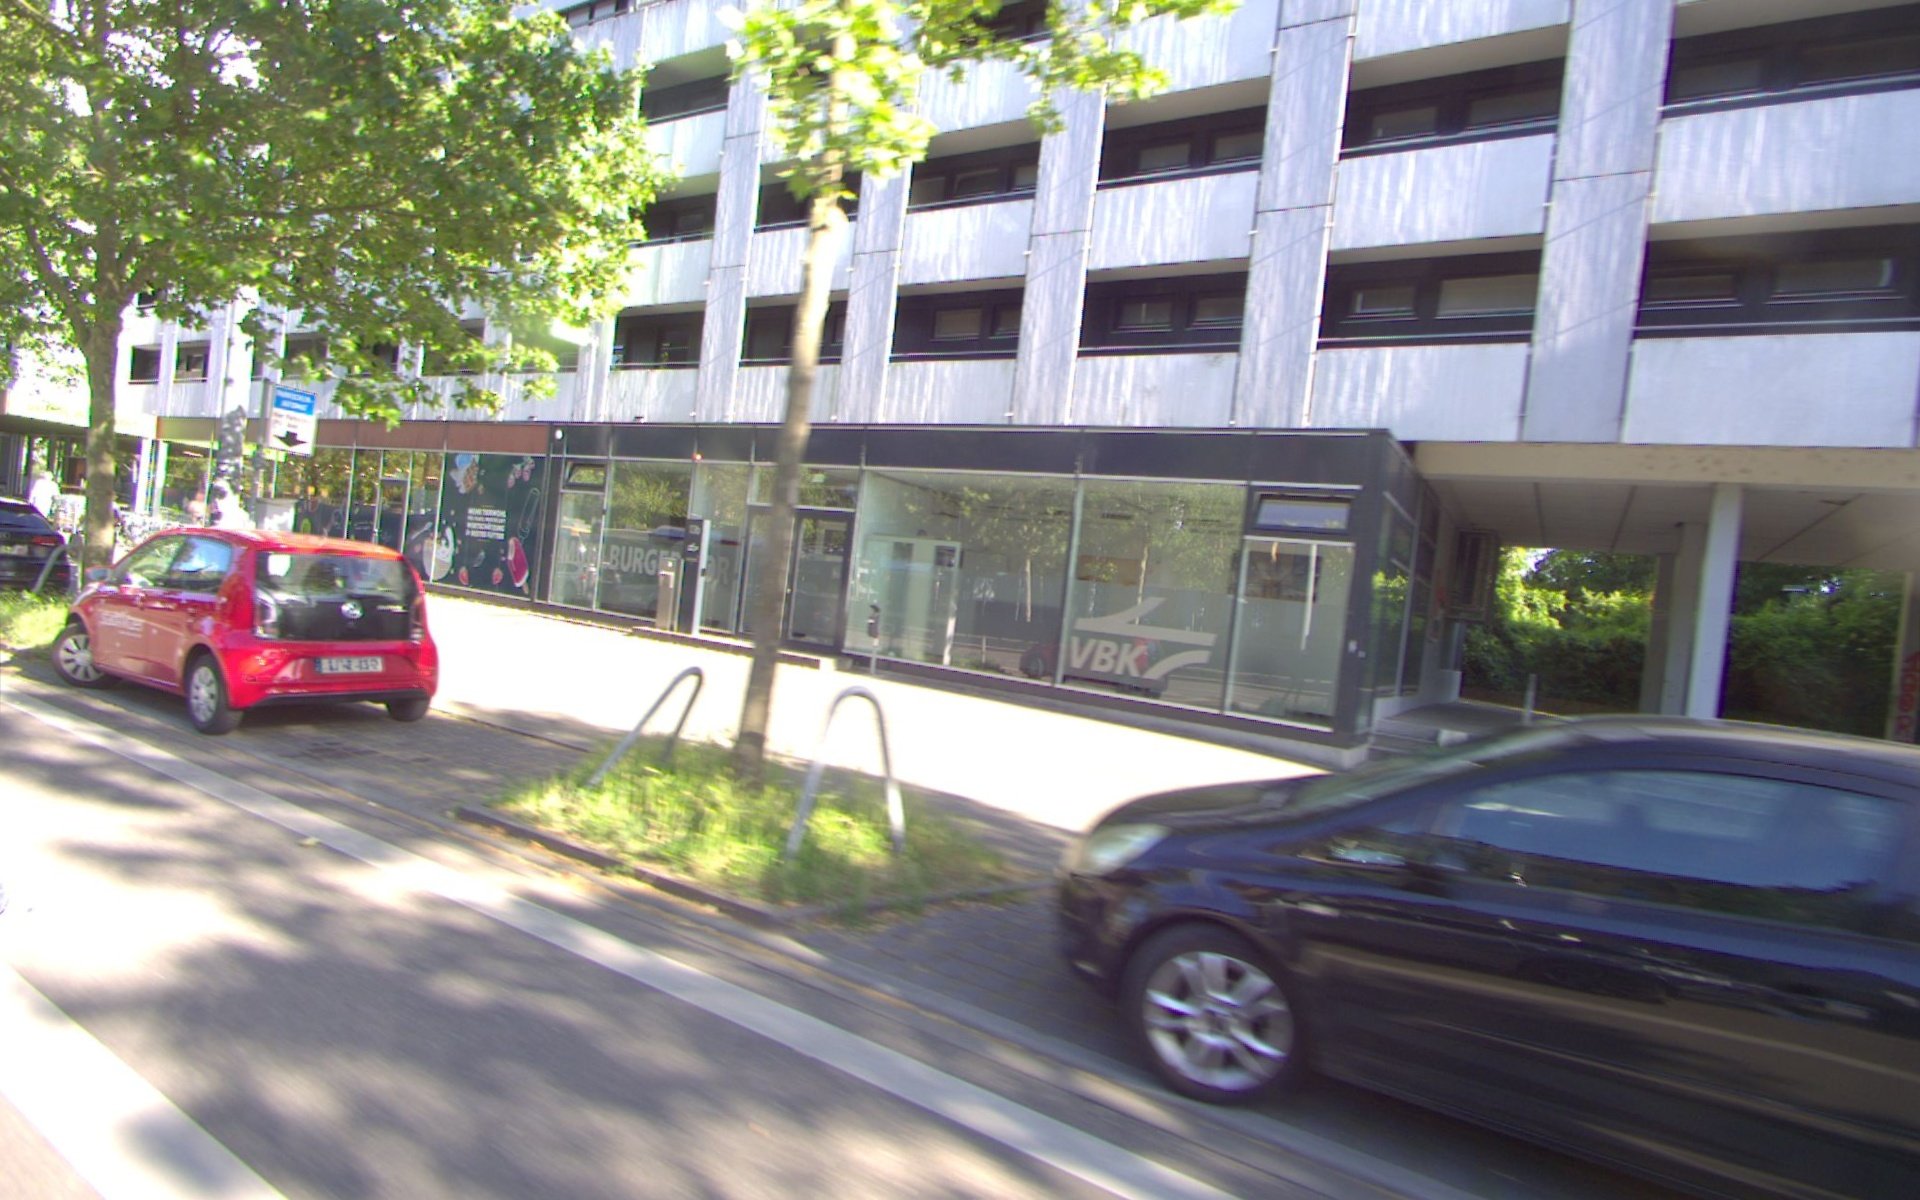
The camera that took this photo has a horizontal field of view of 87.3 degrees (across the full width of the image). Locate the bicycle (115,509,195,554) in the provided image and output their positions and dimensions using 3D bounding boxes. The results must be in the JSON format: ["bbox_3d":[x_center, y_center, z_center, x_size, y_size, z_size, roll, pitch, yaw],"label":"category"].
[{"bbox_3d":[-23.092,-1.959,28.905,1.686,1.070,0.580,5,5,-32],"label":"bicycle"}]

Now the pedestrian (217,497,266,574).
[{"bbox_3d":[-16.881,-1.508,23.638,0.867,1.701,0.557,7,3,31],"label":"pedestrian"}]

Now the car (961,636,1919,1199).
[{"bbox_3d":[2.125,1.086,3.439,3.865,1.460,1.627,7,1,32],"label":"car"}]

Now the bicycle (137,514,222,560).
[{"bbox_3d":[-20.898,-1.682,26.966,1.686,1.070,0.580,4,3,-32],"label":"bicycle"}]

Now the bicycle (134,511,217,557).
[{"bbox_3d":[-21.484,-1.800,27.571,1.686,1.070,0.580,5,4,-32],"label":"bicycle"}]

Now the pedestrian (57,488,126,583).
[{"bbox_3d":[-15.963,-1.188,18.492,0.854,1.634,0.697,7,3,33],"label":"pedestrian"}]

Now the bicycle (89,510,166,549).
[{"bbox_3d":[-24.320,-2.055,29.413,1.634,0.929,0.580,5,5,-32],"label":"bicycle"}]

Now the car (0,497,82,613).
[{"bbox_3d":[-14.091,-0.780,13.898,4.223,1.421,1.730,7,1,31],"label":"car"}]

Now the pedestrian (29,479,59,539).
[{"bbox_3d":[-27.660,-2.749,30.390,0.608,1.740,0.605,3,5,-42],"label":"pedestrian"}]

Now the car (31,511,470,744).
[{"bbox_3d":[-6.071,0.134,8.533,3.628,1.457,1.673,6,2,31],"label":"car"}]
